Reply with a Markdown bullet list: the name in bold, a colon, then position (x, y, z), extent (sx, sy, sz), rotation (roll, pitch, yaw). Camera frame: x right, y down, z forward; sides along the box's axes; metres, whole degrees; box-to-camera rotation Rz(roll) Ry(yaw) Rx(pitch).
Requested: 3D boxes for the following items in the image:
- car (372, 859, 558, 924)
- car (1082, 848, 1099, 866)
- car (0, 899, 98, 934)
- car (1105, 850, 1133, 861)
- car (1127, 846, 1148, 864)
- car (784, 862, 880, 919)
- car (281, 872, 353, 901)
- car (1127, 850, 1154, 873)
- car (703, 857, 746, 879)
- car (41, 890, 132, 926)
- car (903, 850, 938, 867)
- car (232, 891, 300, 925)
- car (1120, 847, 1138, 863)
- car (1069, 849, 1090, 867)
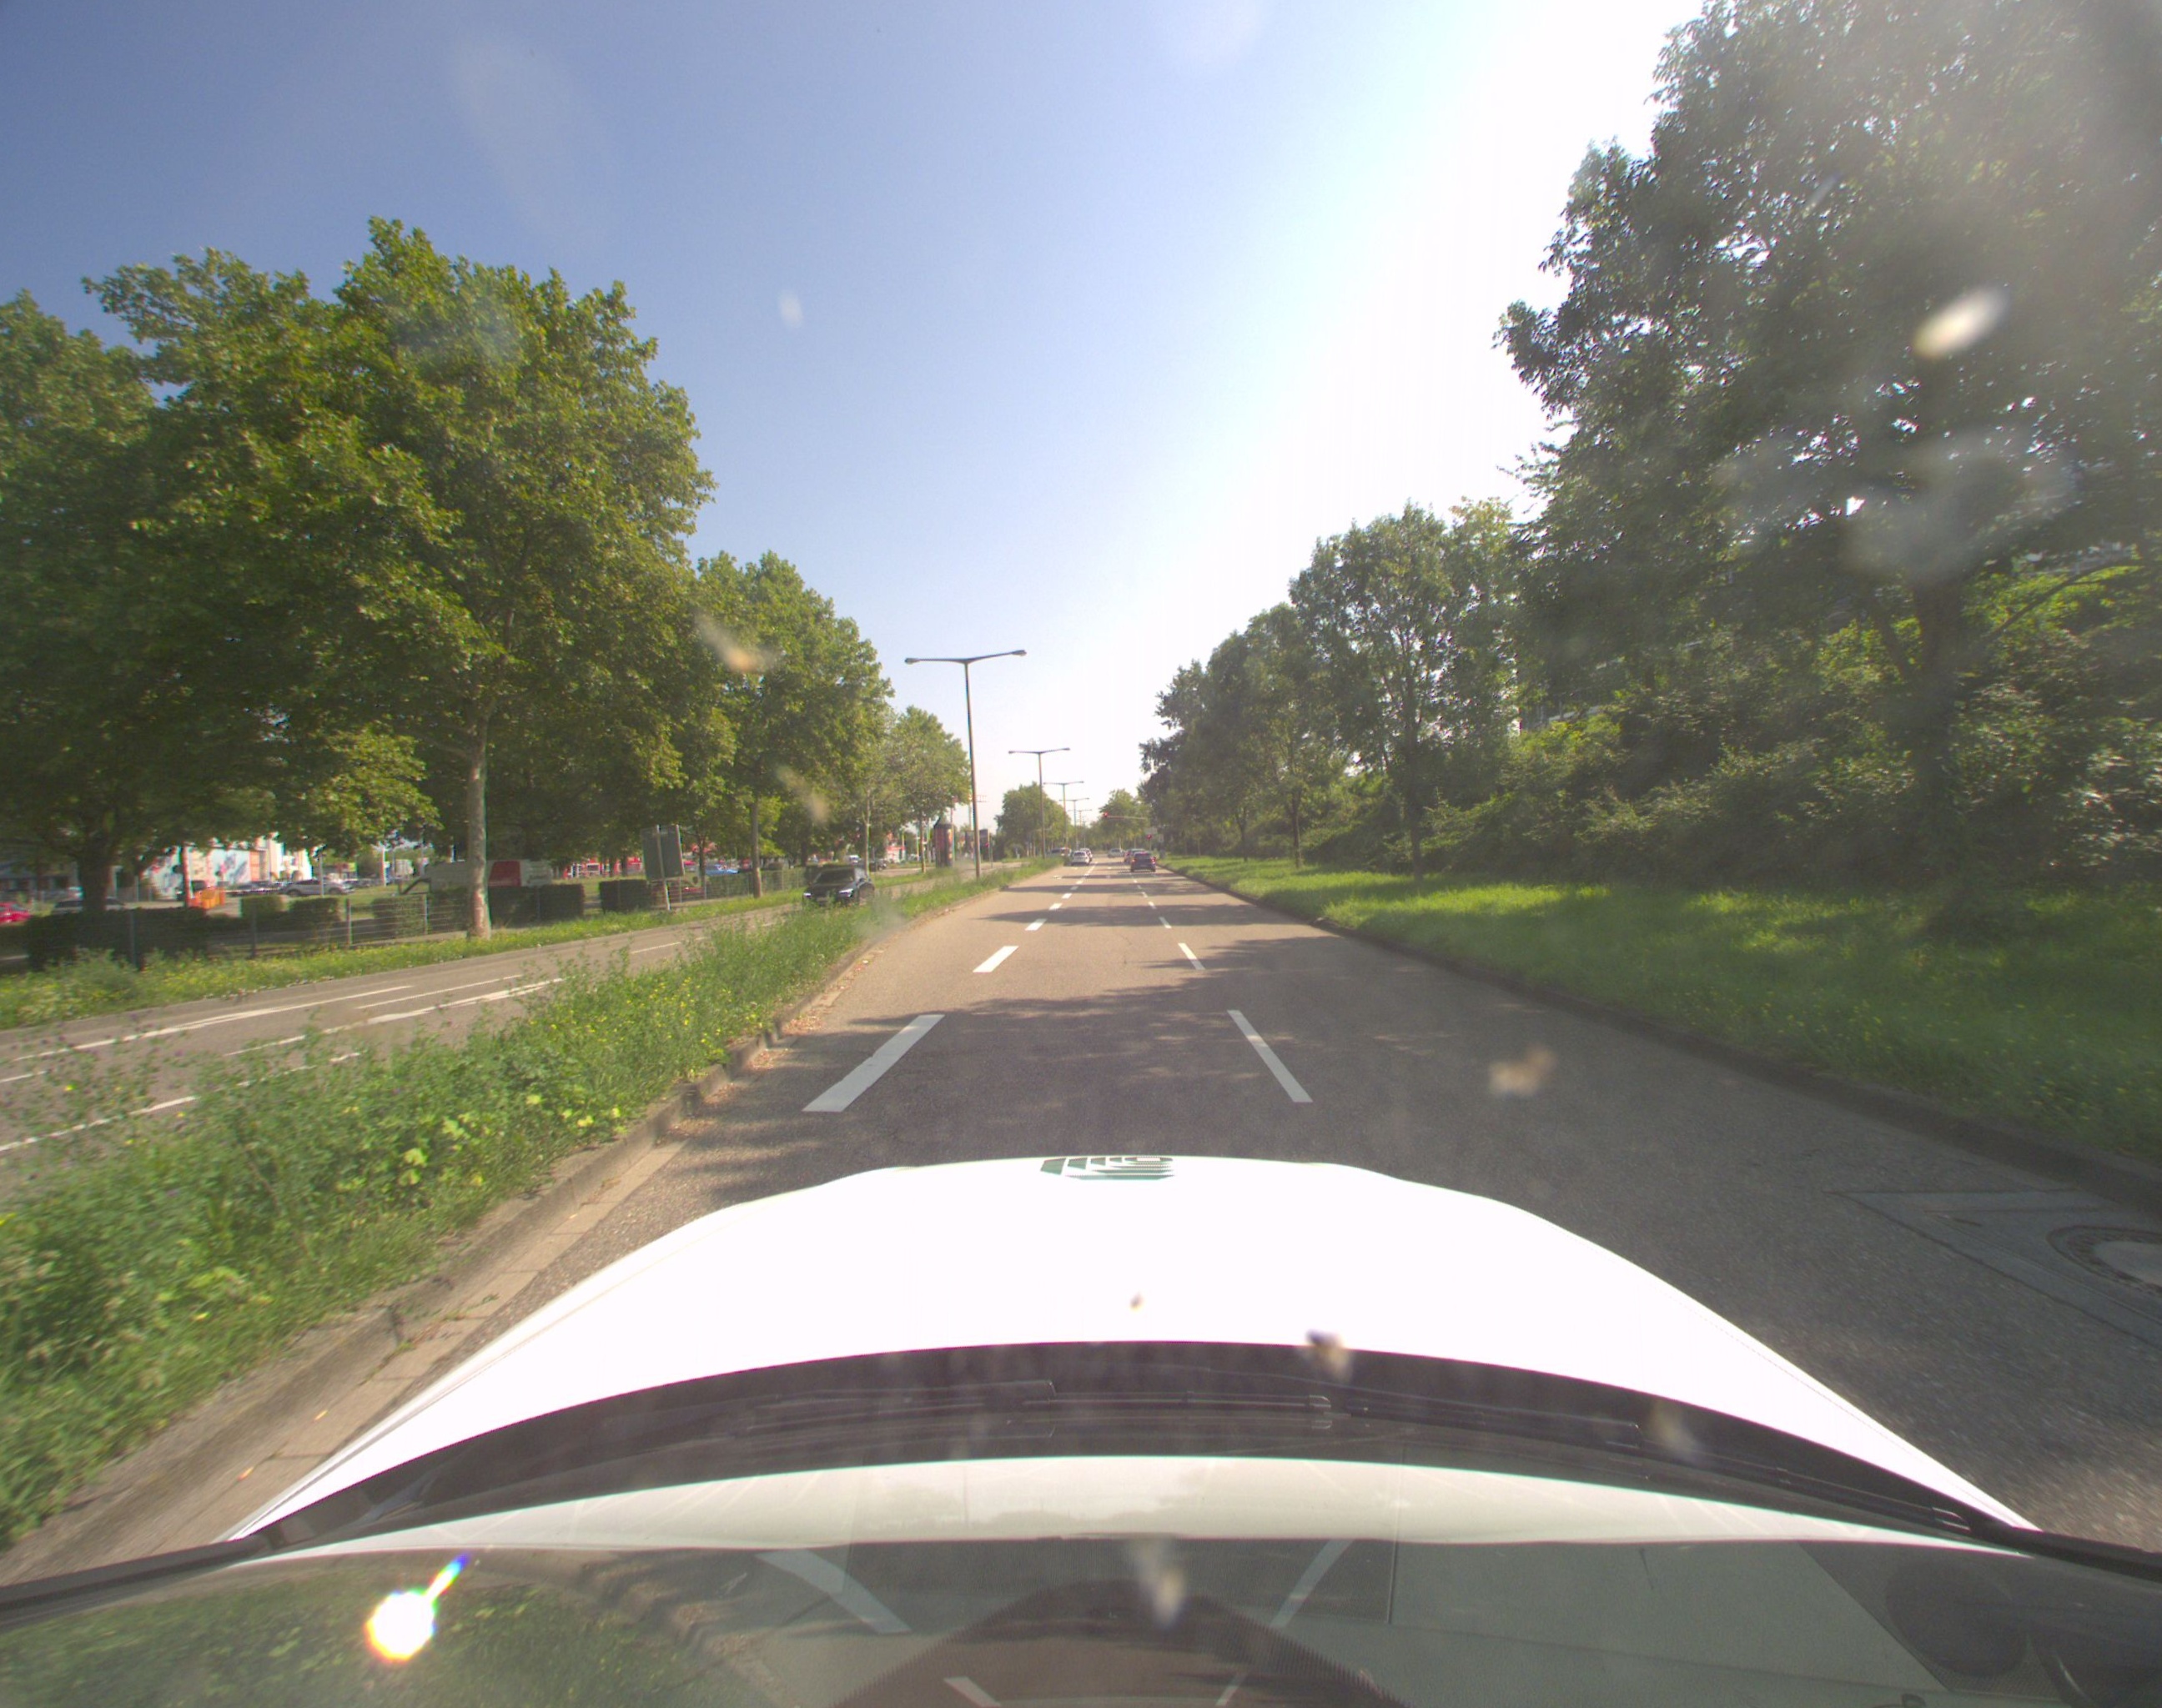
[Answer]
- **car**: position (-24.417, 1.453, 32.465), extent (5.565, 2.336, 2.279), rotation (-1, 3, 0)
- **car**: position (1.228, 0.354, 104.311), extent (1.986, 2.013, 4.003), rotation (-1, 3, 2)
- **car**: position (-74.501, 4.493, 58.792), extent (4.016, 2.013, 1.979), rotation (-3, 3, -34)
- **car**: position (5.966, 0.225, 128.081), extent (3.955, 1.630, 1.707), rotation (-3, 0, 17)
- **car**: position (5.807, 0.092, 84.132), extent (1.986, 1.654, 4.002), rotation (-3, 0, 2)
- **car**: position (-8.489, 1.192, 28.150), extent (1.986, 1.561, 4.002), rotation (-1, 3, 1)
- **car**: position (-64.107, 2.704, 68.403), extent (4.016, 2.013, 1.979), rotation (-3, 3, -34)
- **car**: position (4.275, 0.492, 58.536), extent (1.773, 1.427, 4.003), rotation (-1, 3, 2)
- **car**: position (-37.800, 1.474, 86.420), extent (4.011, 2.013, 1.982), rotation (-2, 3, -29)
- **car**: position (-53.424, 2.860, 43.842), extent (1.940, 1.452, 3.959), rotation (-3, 3, -34)
- **car**: position (-21.035, 0.599, 106.768), extent (4.020, 2.013, 1.978), rotation (-3, 3, -38)
- **car**: position (-46.738, 3.043, 46.815), extent (1.940, 1.452, 3.959), rotation (-3, 3, -34)
- **car**: position (5.653, 0.104, 97.108), extent (1.986, 1.653, 4.003), rotation (-1, 4, 2)
- **car**: position (-0.101, 0.376, 80.416), extent (1.987, 1.702, 4.000), rotation (-3, 0, 1)
